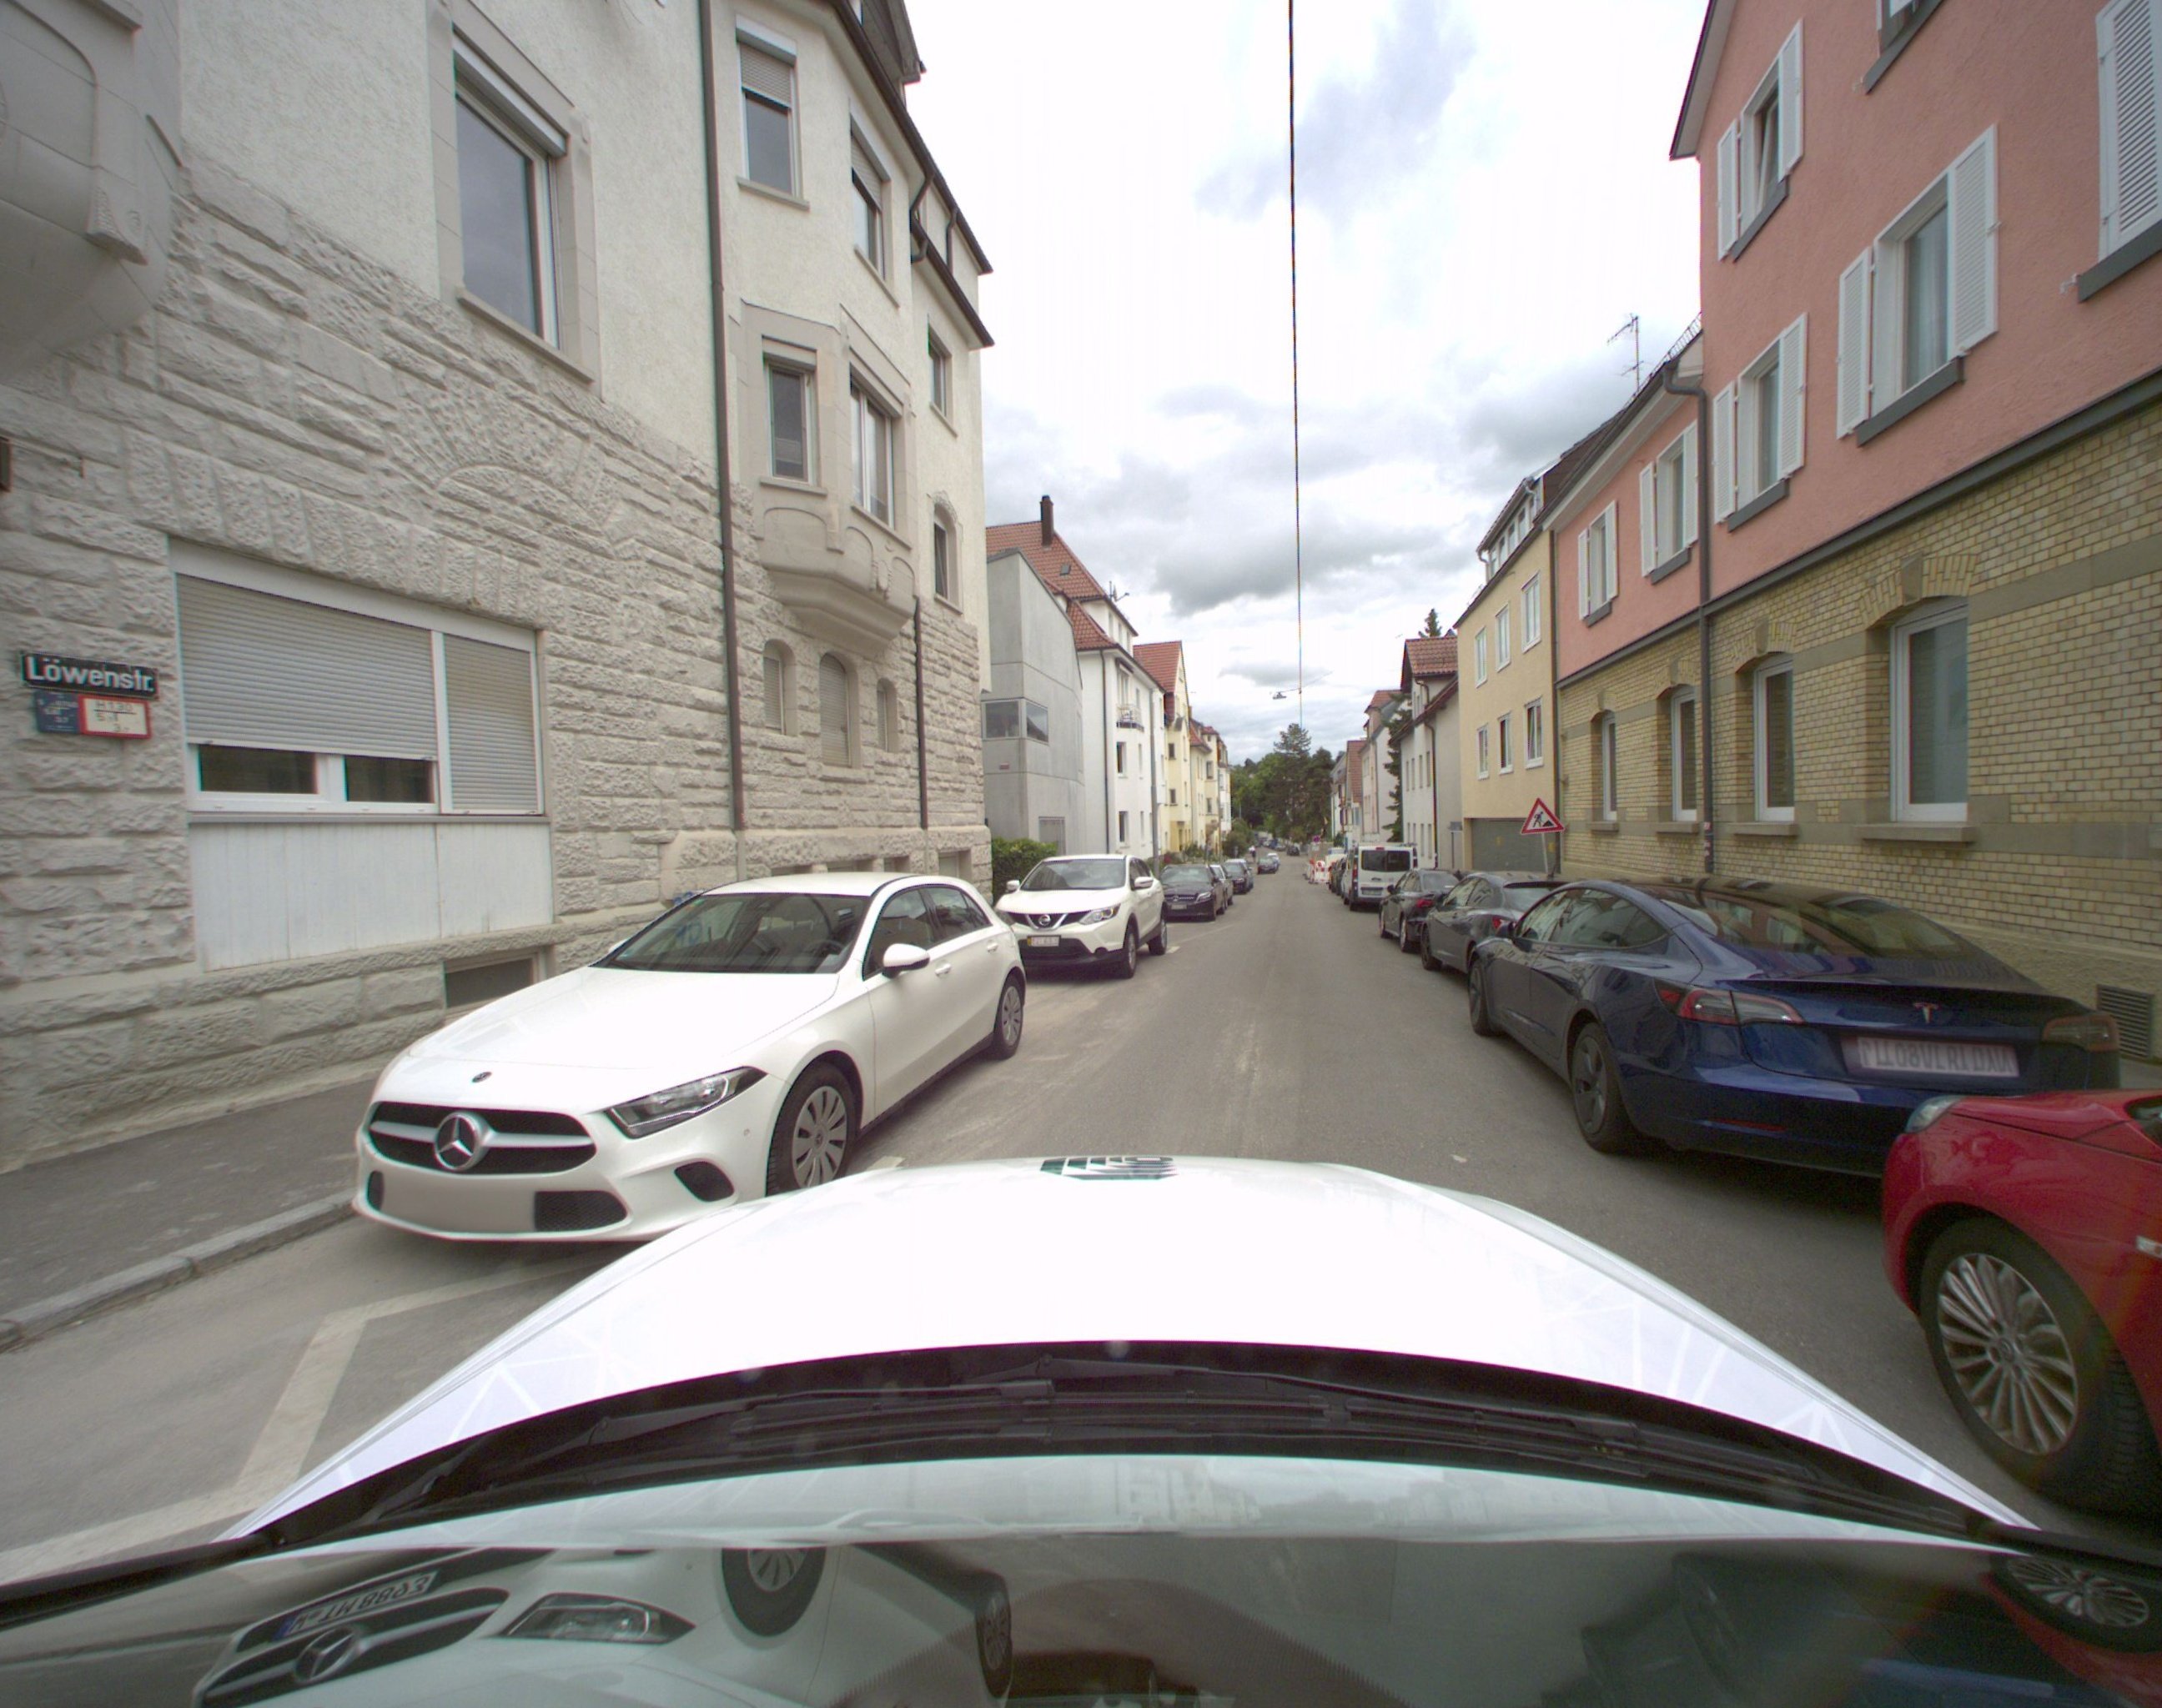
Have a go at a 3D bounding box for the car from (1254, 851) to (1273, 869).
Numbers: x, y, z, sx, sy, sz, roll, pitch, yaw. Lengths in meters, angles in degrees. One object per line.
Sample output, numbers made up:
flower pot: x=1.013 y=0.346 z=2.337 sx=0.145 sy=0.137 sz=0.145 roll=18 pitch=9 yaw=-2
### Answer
car: x=19.170 y=0.660 z=85.427 sx=1.832 sy=1.815 sz=4.559 roll=-2 pitch=-1 yaw=12

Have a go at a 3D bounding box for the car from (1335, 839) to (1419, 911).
car: x=9.266 y=0.591 z=25.896 sx=1.892 sy=2.030 sz=5.754 roll=0 pitch=0 yaw=14

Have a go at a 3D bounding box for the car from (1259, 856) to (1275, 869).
car: x=21.891 y=1.011 z=95.740 sx=1.630 sy=1.417 sz=3.999 roll=-2 pitch=-1 yaw=14

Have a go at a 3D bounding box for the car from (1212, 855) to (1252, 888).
car: x=8.066 y=0.887 z=43.277 sx=1.832 sy=1.631 sz=4.301 roll=-1 pitch=0 yaw=13

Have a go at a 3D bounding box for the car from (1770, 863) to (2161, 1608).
car: x=2.859 y=0.770 z=0.927 sx=1.656 sy=1.479 sz=3.638 roll=-1 pitch=0 yaw=13

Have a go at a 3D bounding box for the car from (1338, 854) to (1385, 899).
car: x=10.459 y=0.801 z=30.469 sx=1.476 sy=1.596 sz=2.802 roll=0 pitch=0 yaw=15

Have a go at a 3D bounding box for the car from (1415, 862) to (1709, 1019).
car: x=5.344 y=0.826 z=9.702 sx=1.840 sy=1.403 sz=3.979 roll=0 pitch=0 yaw=12

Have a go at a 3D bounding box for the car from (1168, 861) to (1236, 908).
car: x=4.208 y=0.974 z=27.706 sx=1.832 sy=1.413 sz=5.079 roll=-1 pitch=0 yaw=13

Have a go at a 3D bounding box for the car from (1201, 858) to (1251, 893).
car: x=6.693 y=0.957 z=37.339 sx=1.831 sy=1.457 sz=4.522 roll=-2 pitch=-1 yaw=15

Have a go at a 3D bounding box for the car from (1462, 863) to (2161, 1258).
car: x=3.884 y=0.792 z=5.267 sx=1.839 sy=1.403 sz=4.309 roll=0 pitch=0 yaw=15

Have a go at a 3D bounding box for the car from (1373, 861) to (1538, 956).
car: x=6.478 y=0.875 z=14.610 sx=1.839 sy=1.403 sz=4.591 roll=0 pitch=-1 yaw=14

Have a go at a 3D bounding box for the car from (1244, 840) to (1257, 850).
car: x=31.058 y=-1.583 z=149.254 sx=1.666 sy=1.656 sz=3.866 roll=-2 pitch=2 yaw=2

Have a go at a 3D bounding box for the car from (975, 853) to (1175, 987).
car: x=0.142 y=0.767 z=11.476 sx=1.832 sy=1.515 sz=4.255 roll=-1 pitch=0 yaw=13

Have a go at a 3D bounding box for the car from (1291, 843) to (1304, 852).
car: x=36.883 y=-1.135 z=138.768 sx=1.625 sy=1.483 sz=3.538 roll=0 pitch=3 yaw=7

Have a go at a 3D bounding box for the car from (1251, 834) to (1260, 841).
car: x=39.123 y=-3.730 z=182.332 sx=1.626 sy=1.537 sz=3.537 roll=0 pitch=3 yaw=6

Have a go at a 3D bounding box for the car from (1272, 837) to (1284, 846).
car: x=36.375 y=-2.314 z=150.431 sx=1.626 sy=1.483 sz=3.537 roll=0 pitch=3 yaw=6

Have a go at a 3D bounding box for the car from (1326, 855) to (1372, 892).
car: x=12.137 y=0.829 z=37.063 sx=1.701 sy=1.596 sz=4.516 roll=0 pitch=0 yaw=15

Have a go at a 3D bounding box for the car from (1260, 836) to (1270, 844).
car: x=37.780 y=-2.891 z=167.662 sx=1.626 sy=1.537 sz=3.537 roll=0 pitch=3 yaw=6

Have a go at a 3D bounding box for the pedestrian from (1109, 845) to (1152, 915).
pedestrian: x=1.372 y=0.719 z=22.686 sx=0.808 sy=1.884 sz=0.852 roll=-2 pitch=-1 yaw=37

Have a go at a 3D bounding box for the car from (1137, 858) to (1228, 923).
car: x=2.804 y=0.885 z=21.615 sx=1.883 sy=1.527 sz=4.486 roll=-1 pitch=0 yaw=13

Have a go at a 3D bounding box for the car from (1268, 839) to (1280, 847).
car: x=36.830 y=-2.089 z=155.462 sx=1.626 sy=1.483 sz=3.537 roll=0 pitch=3 yaw=6

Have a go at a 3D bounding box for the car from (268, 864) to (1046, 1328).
car: x=-1.607 y=0.802 z=4.814 sx=1.687 sy=1.414 sz=4.255 roll=-1 pitch=0 yaw=13

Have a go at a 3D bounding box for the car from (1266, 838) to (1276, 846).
car: x=37.657 y=-2.418 z=161.309 sx=1.626 sy=1.537 sz=3.537 roll=0 pitch=3 yaw=6
